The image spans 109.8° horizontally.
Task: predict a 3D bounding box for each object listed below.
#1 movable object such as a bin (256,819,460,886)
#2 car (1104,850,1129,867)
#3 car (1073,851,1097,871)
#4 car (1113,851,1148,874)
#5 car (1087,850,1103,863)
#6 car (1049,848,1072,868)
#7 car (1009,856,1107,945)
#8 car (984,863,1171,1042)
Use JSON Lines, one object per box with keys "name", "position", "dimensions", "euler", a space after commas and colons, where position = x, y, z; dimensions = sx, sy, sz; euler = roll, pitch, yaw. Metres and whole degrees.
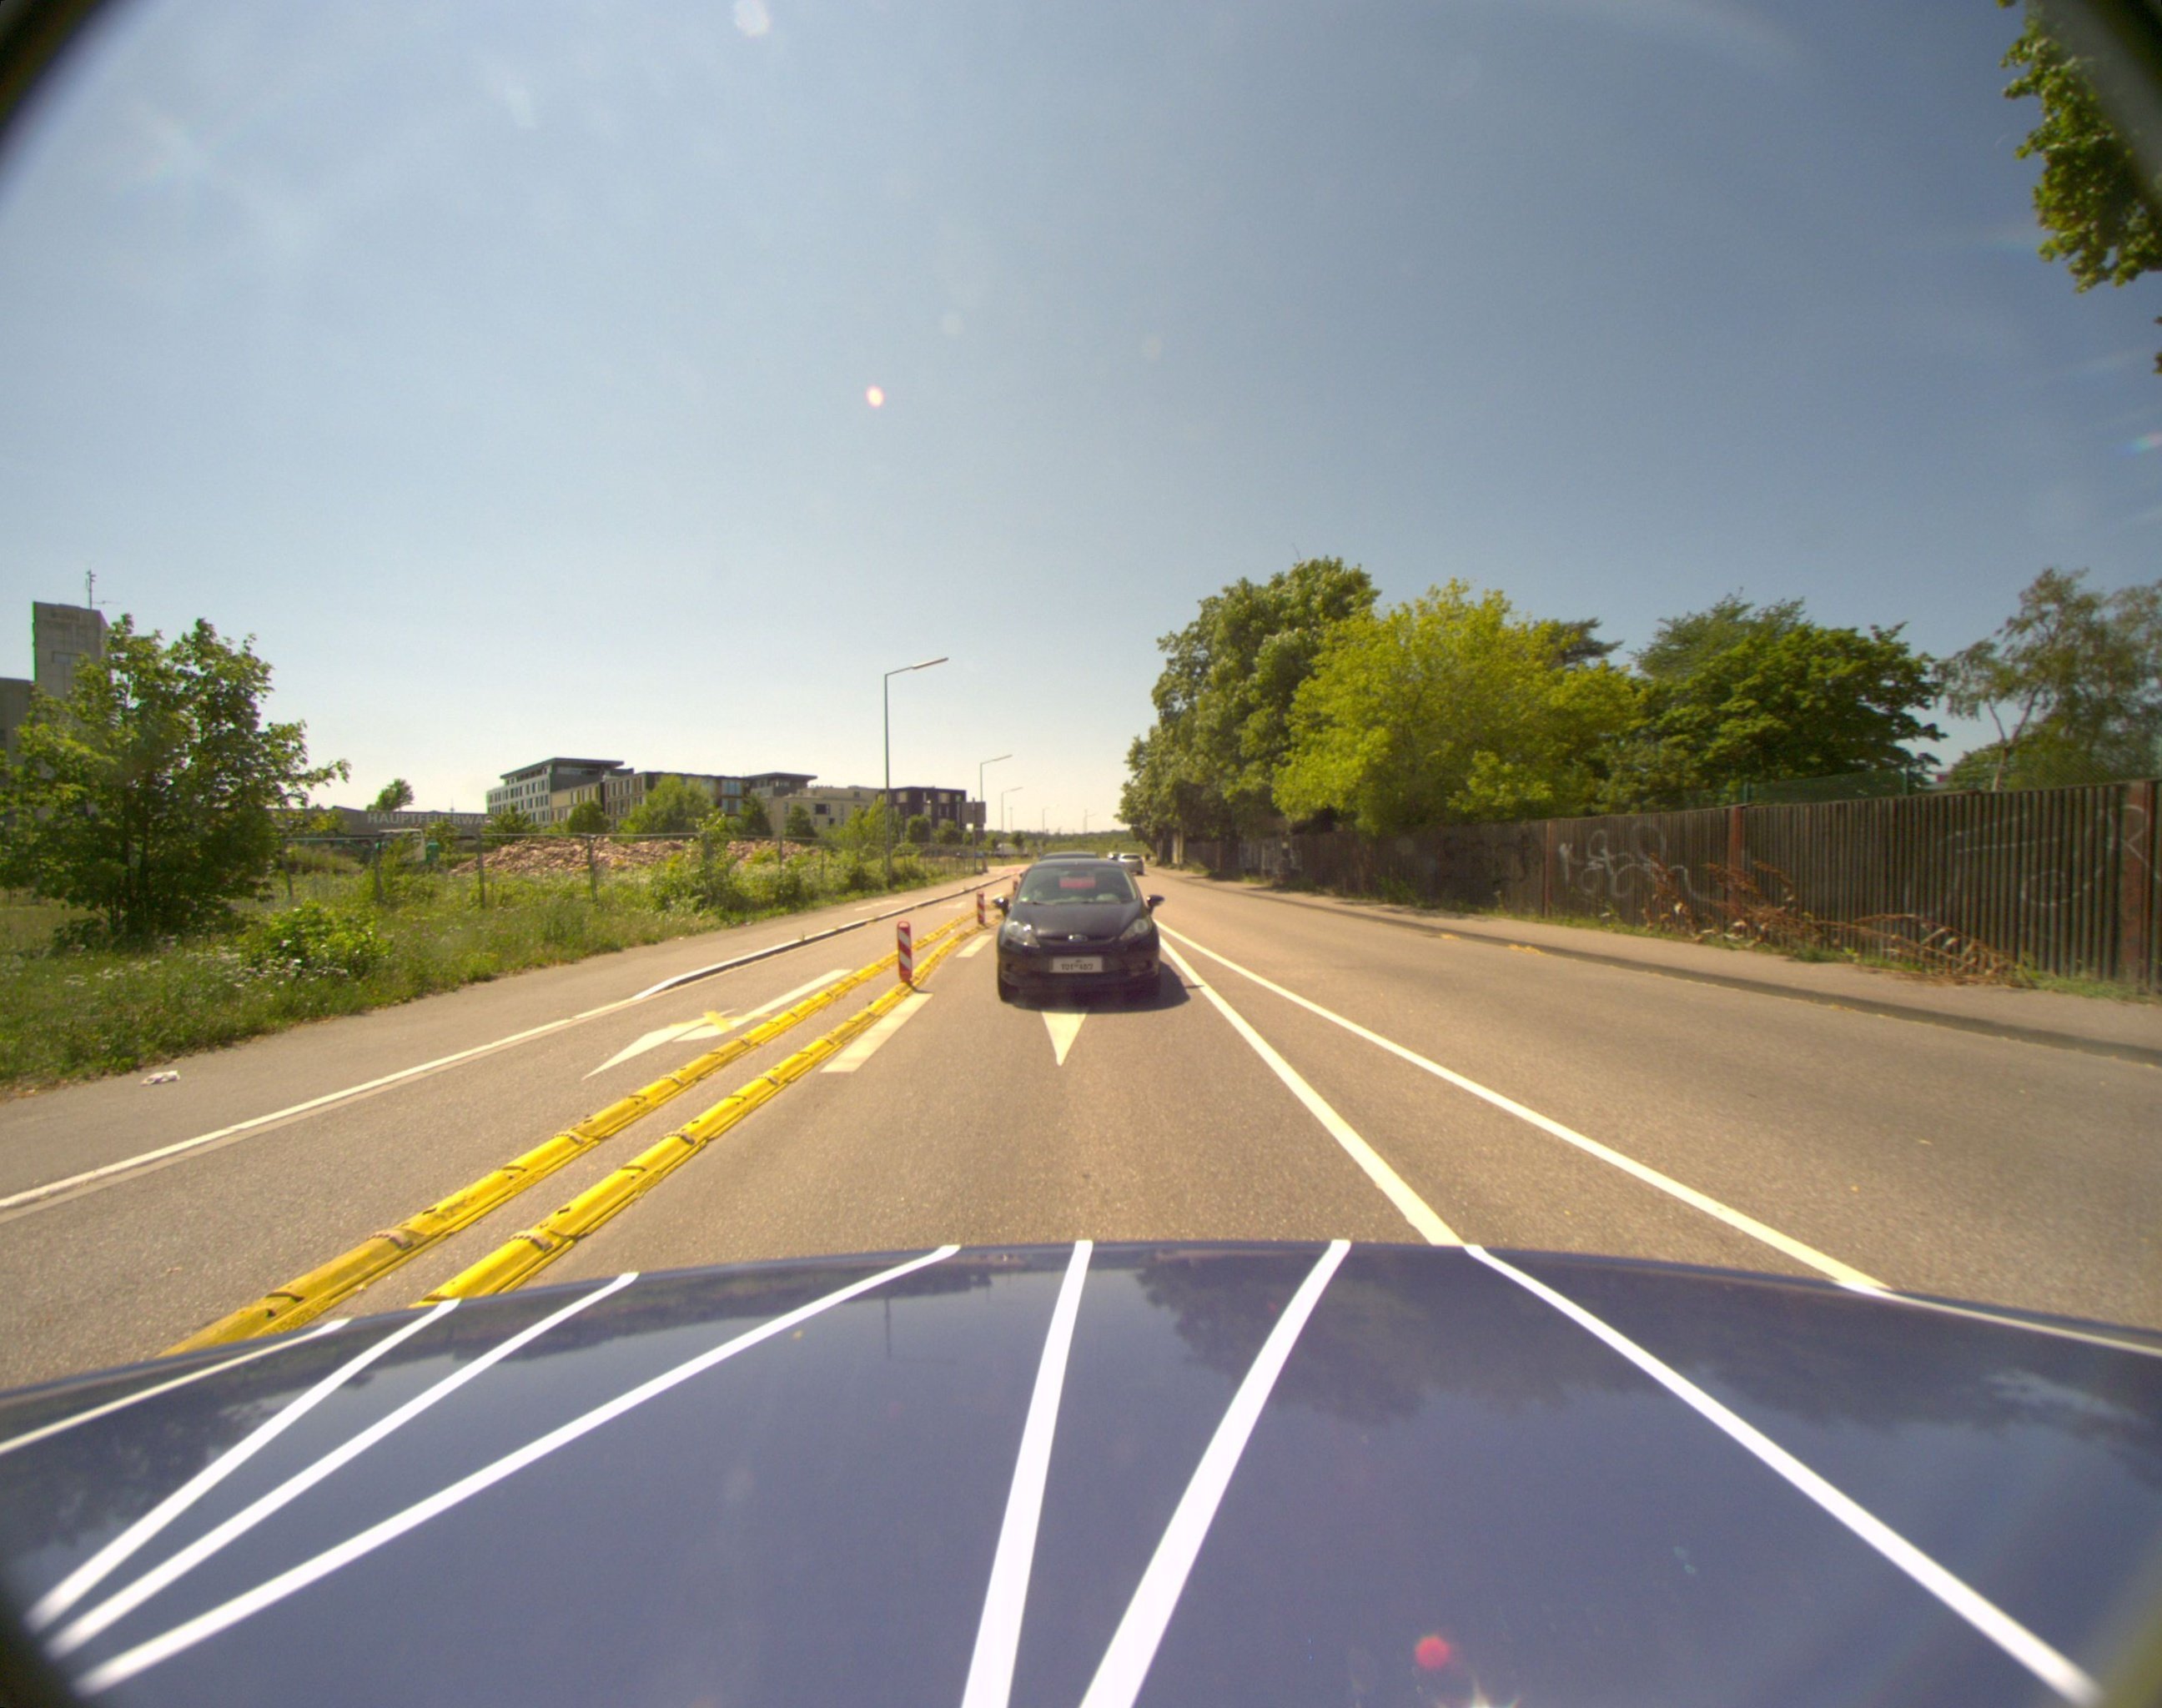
{"name": "movable object such as a bin", "position": [-37.927, -0.166, 40.351], "dimensions": [2.810, 3.131, 7.608], "euler": [-2, 1, 8]}
{"name": "car", "position": [3.229, 0.386, 69.842], "dimensions": [1.759, 1.477, 3.692], "euler": [-1, 0, -5]}
{"name": "car", "position": [0.285, 0.531, 59.588], "dimensions": [1.759, 1.536, 3.693], "euler": [-1, 0, -2]}
{"name": "car", "position": [3.204, 0.541, 50.284], "dimensions": [1.719, 1.455, 3.841], "euler": [1, 0, -5]}
{"name": "car", "position": [1.749, 0.286, 94.750], "dimensions": [1.759, 1.536, 3.693], "euler": [-1, 0, -2]}
{"name": "car", "position": [-1.652, 0.297, 60.046], "dimensions": [1.759, 1.536, 3.693], "euler": [-1, 0, -2]}
{"name": "car", "position": [-0.379, 0.826, 15.476], "dimensions": [1.720, 1.518, 4.211], "euler": [-1, 0, 1]}
{"name": "car", "position": [-0.002, 0.892, 8.600], "dimensions": [1.632, 1.499, 3.819], "euler": [-1, 0, 1]}
